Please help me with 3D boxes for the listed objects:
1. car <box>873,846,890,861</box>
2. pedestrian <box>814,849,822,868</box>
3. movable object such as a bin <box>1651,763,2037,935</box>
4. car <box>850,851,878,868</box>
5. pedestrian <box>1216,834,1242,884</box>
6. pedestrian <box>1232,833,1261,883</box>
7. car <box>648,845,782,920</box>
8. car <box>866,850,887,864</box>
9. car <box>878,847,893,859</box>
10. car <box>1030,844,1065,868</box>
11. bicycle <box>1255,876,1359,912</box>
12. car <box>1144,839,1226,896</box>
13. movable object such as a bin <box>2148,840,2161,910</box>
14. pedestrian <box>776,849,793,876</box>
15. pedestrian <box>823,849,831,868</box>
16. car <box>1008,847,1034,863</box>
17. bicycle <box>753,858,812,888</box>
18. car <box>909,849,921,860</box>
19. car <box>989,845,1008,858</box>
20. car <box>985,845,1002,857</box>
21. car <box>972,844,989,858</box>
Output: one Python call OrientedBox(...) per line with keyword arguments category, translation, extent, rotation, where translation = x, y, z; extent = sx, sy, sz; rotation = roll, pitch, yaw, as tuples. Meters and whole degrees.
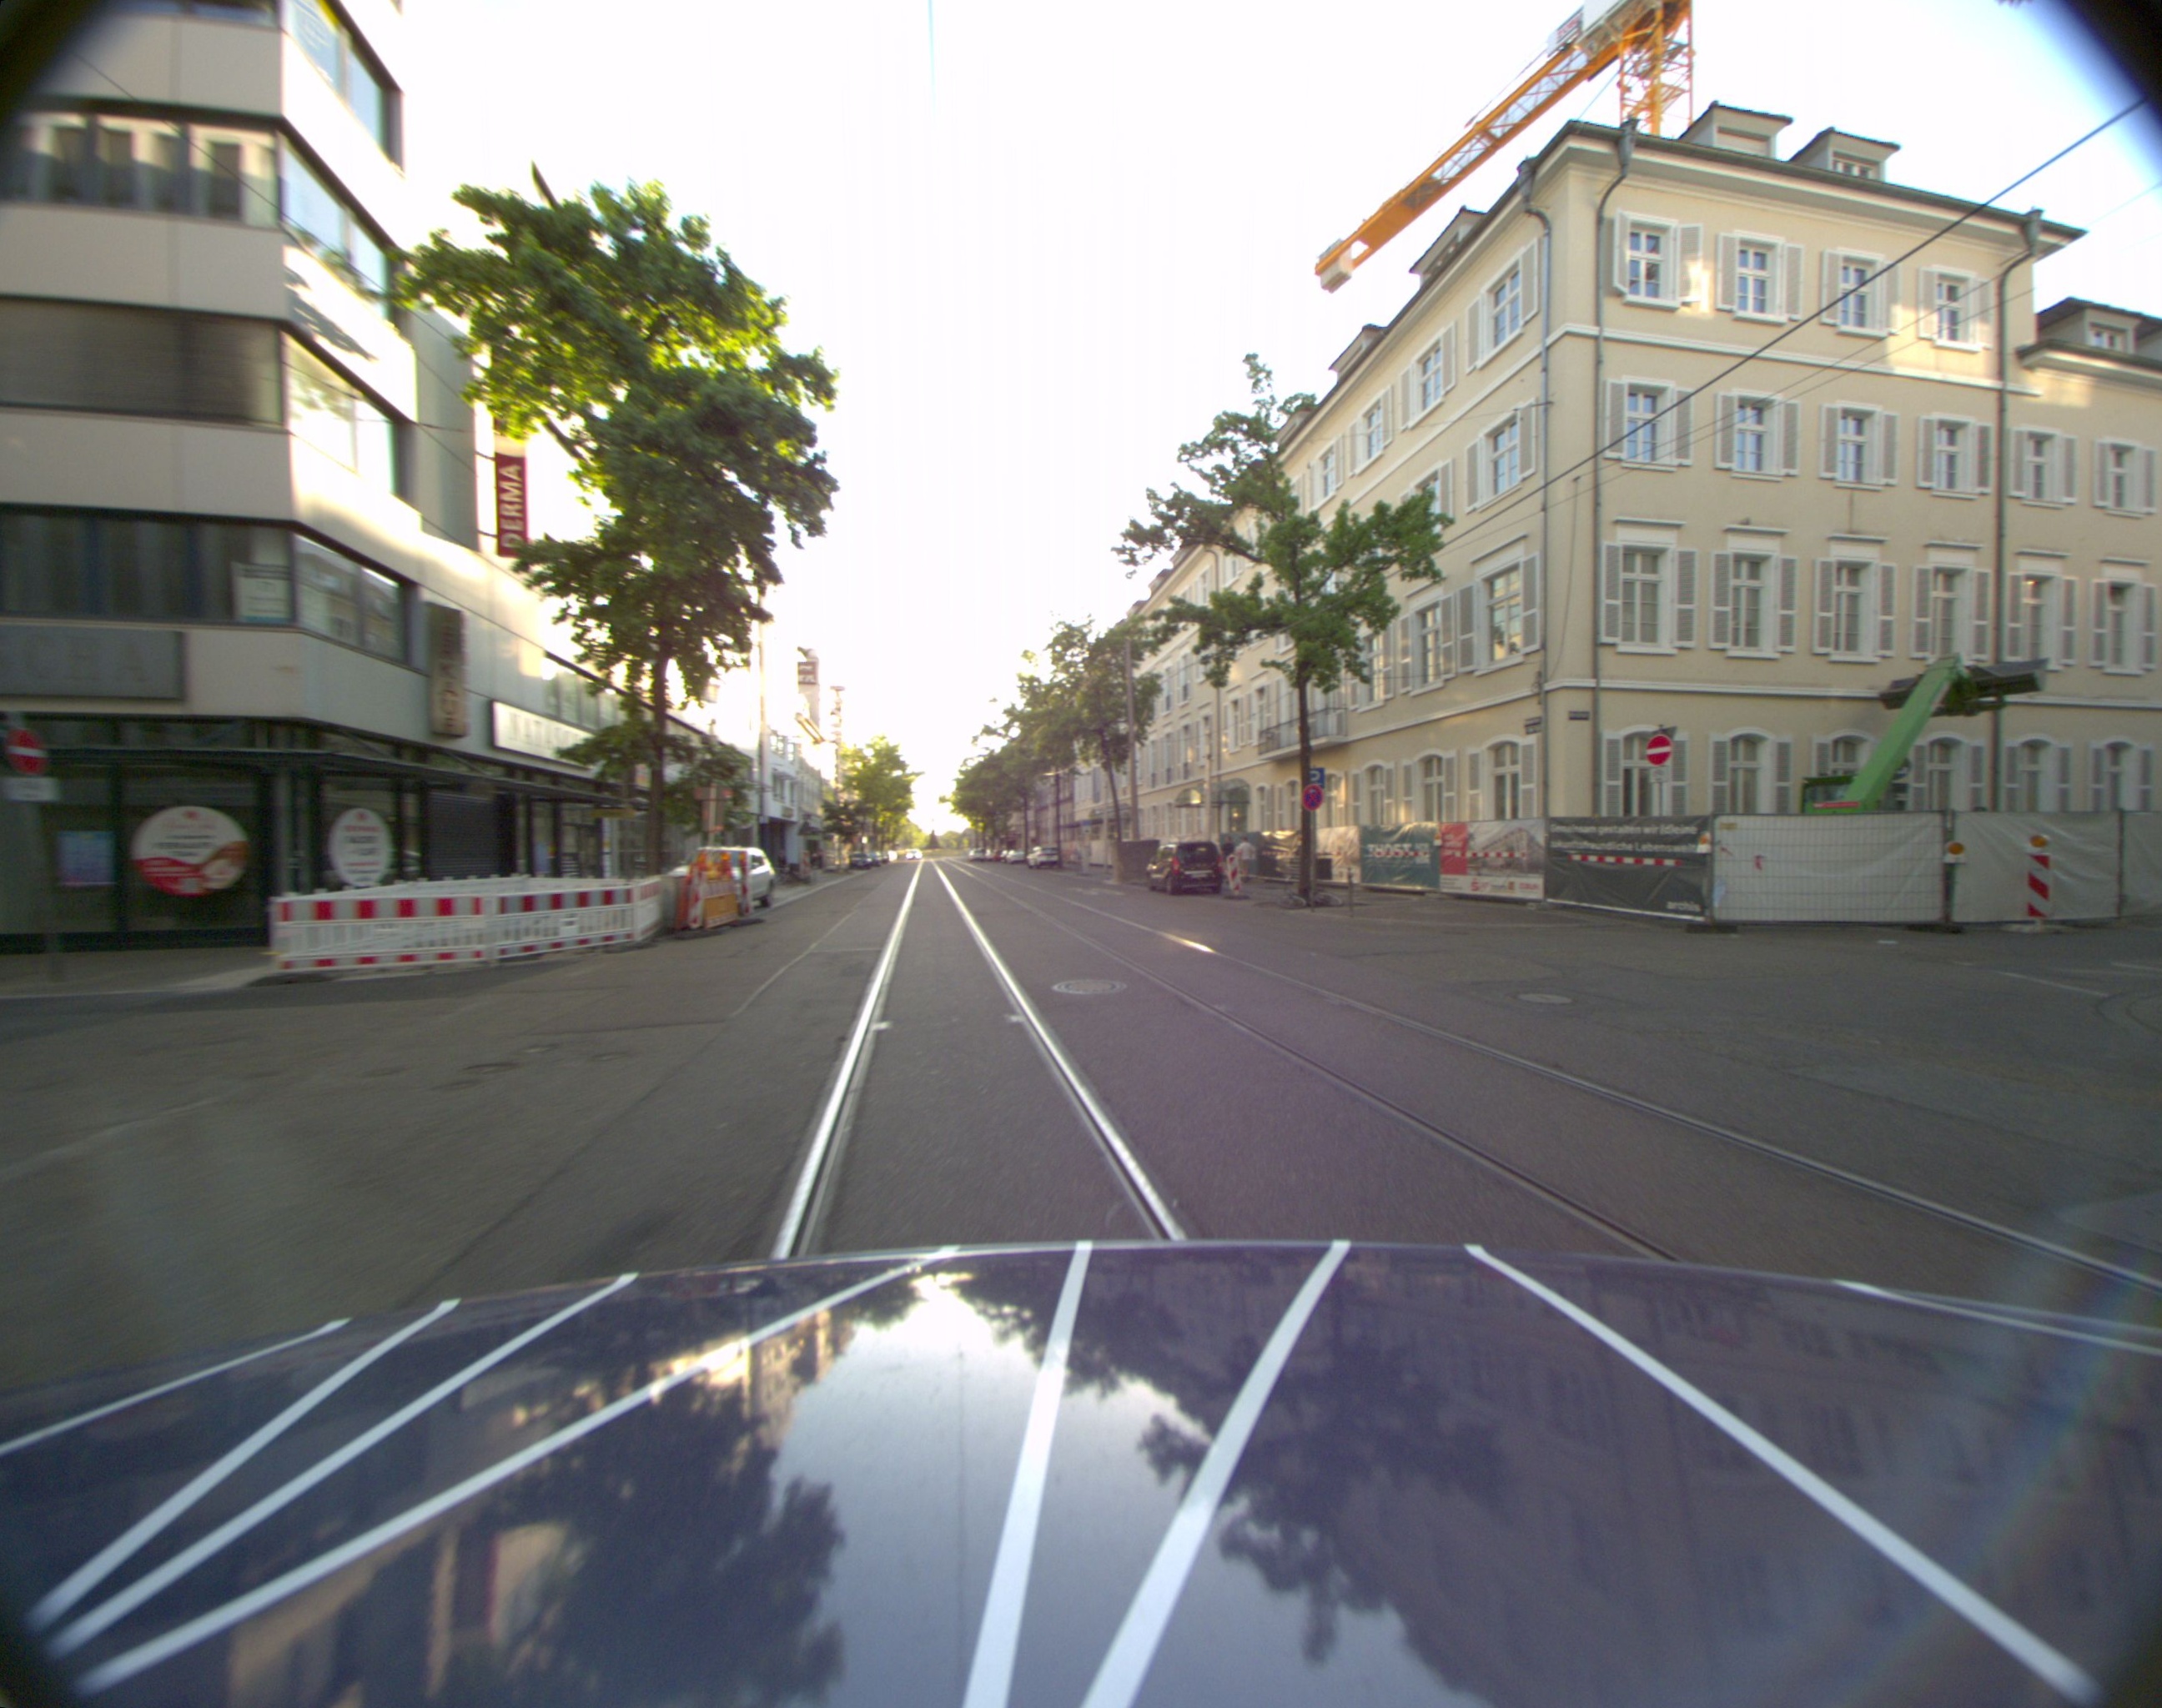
OrientedBox(category="car", translation=(-23.776, -0.077, 90.824), extent=(1.904, 1.683, 4.099), rotation=(-1, 1, -14))
OrientedBox(category="pedestrian", translation=(-21.056, 0.349, 60.764), extent=(0.478, 1.539, 0.747), rotation=(-1, 2, -11))
OrientedBox(category="movable object such as a bin", translation=(14.387, -0.121, 14.493), extent=(5.567, 2.856, 2.640), rotation=(0, 2, -14))
OrientedBox(category="car", translation=(-18.357, 0.443, 64.501), extent=(2.005, 1.354, 4.100), rotation=(1, 1, -12))
OrientedBox(category="pedestrian", translation=(5.724, 0.183, 29.338), extent=(0.680, 1.874, 0.768), rotation=(-3, 2, -11))
OrientedBox(category="pedestrian", translation=(6.453, 0.135, 29.695), extent=(0.759, 1.874, 0.879), rotation=(-3, 2, -11))
OrientedBox(category="car", translation=(-9.651, 0.682, 20.497), extent=(2.000, 1.761, 4.665), rotation=(2, 0, -10))
OrientedBox(category="car", translation=(-19.913, 0.272, 73.983), extent=(1.740, 1.311, 4.100), rotation=(1, 0, -13))
OrientedBox(category="car", translation=(-24.727, -0.099, 96.175), extent=(1.688, 1.472, 3.842), rotation=(-1, 1, -13))
OrientedBox(category="car", translation=(-2.600, 0.115, 58.114), extent=(2.000, 1.728, 4.100), rotation=(-1, 1, -12))
OrientedBox(category="bicycle", translation=(5.551, 0.966, 18.755), extent=(2.078, 0.702, 1.328), rotation=(-2, 1, -18))
OrientedBox(category="car", translation=(3.549, 0.415, 26.582), extent=(1.773, 1.755, 3.874), rotation=(-3, 1, -8))
OrientedBox(category="movable object such as a bin", translation=(29.322, 0.540, 17.497), extent=(7.296, 1.655, 2.896), rotation=(0, 2, -13))
OrientedBox(category="pedestrian", translation=(-17.031, 0.478, 43.624), extent=(0.730, 1.549, 0.838), rotation=(0, 2, -9))
OrientedBox(category="pedestrian", translation=(-20.386, 0.352, 61.018), extent=(0.478, 1.547, 0.747), rotation=(0, 2, -11))
OrientedBox(category="car", translation=(-6.023, 0.067, 76.046), extent=(2.000, 1.494, 4.100), rotation=(-1, 1, -12))
OrientedBox(category="bicycle", translation=(-12.527, 0.794, 31.958), extent=(2.165, 1.152, 0.760), rotation=(2, 2, -6))
OrientedBox(category="car", translation=(-26.646, 0.126, 122.094), extent=(1.740, 1.728, 4.100), rotation=(-1, 1, -12))
OrientedBox(category="car", translation=(-10.429, -0.352, 95.871), extent=(2.000, 1.567, 4.101), rotation=(-1, 1, -10))
OrientedBox(category="car", translation=(-11.726, -0.411, 101.717), extent=(2.000, 1.540, 4.101), rotation=(-1, 1, -10))
OrientedBox(category="car", translation=(-12.859, -0.448, 97.013), extent=(2.000, 1.728, 4.101), rotation=(-1, 1, -10))
